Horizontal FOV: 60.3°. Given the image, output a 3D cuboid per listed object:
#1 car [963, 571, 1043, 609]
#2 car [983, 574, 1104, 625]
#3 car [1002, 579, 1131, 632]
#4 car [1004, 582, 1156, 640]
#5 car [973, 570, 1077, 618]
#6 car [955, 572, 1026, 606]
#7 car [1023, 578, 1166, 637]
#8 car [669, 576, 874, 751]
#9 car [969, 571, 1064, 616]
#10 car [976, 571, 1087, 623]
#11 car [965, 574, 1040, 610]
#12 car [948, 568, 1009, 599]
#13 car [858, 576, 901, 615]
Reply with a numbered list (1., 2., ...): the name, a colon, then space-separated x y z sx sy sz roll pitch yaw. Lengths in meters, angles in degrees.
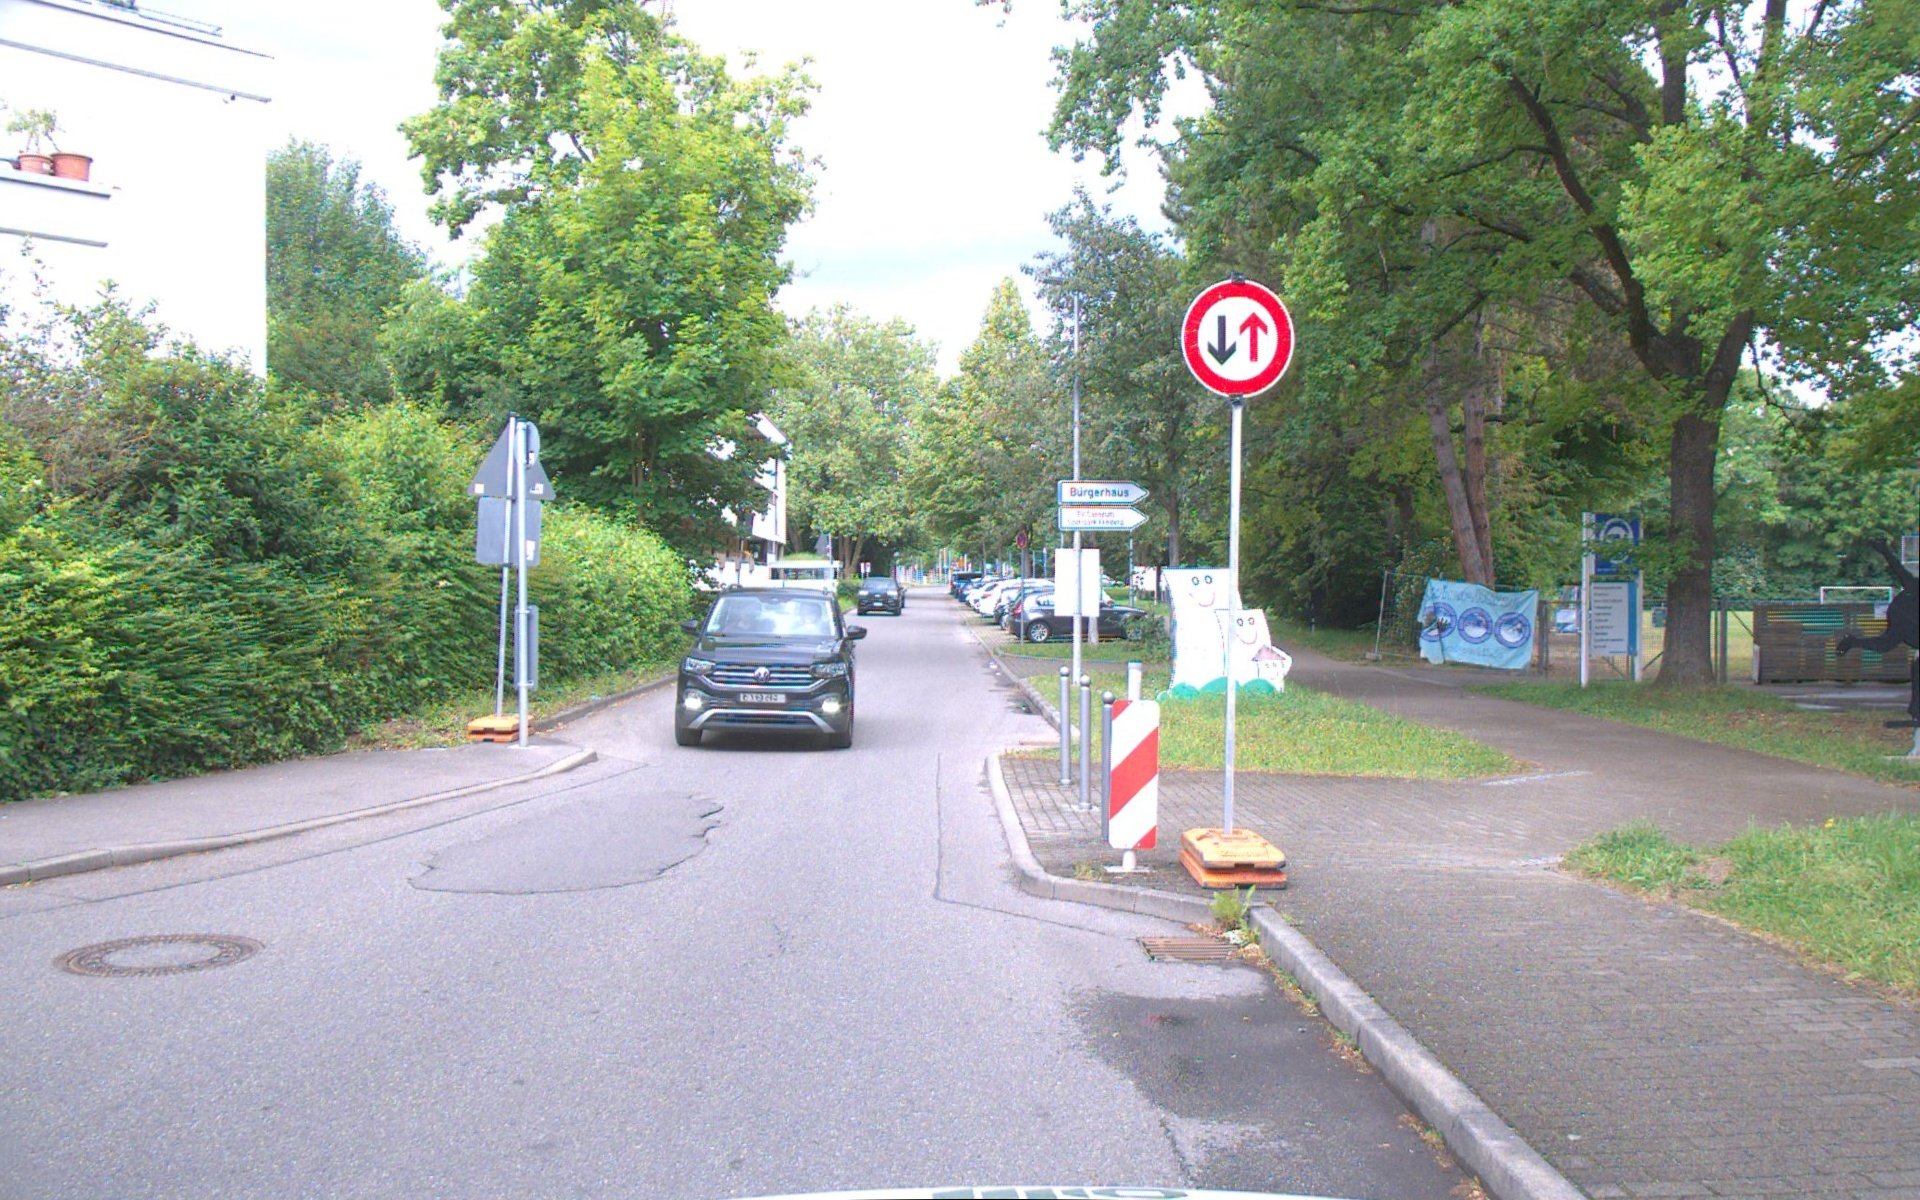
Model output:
1. car: 2.242 -0.521 87.074 3.984 1.716 1.821 -4 1 -5
2. car: 2.897 -0.032 58.217 3.984 1.514 1.821 -4 1 -5
3. car: 3.414 0.152 53.549 3.981 1.595 1.822 -1 1 -2
4. car: 3.276 0.310 45.843 3.981 1.459 1.999 -1 -1 -2
5. car: 2.625 -0.252 67.559 3.984 1.716 1.821 -4 1 -5
6. car: 1.809 -0.653 98.002 3.984 1.716 1.821 -4 1 -5
7. car: 3.901 0.229 48.487 3.981 1.596 1.821 -1 -1 -2
8. car: -1.864 0.575 17.536 1.766 1.619 4.295 0 0 -1
9. car: 2.513 -0.287 73.942 3.984 1.716 1.821 -4 1 -5
10. car: 2.719 -0.109 63.470 3.984 1.716 1.821 -4 1 -5
11. car: 2.371 -0.457 92.971 3.984 1.716 1.821 -4 1 -5
12. car: 1.241 -1.133 113.627 3.984 1.801 1.821 -4 1 -5
13. car: -3.763 -0.231 77.735 1.929 1.778 4.337 0 0 -2
